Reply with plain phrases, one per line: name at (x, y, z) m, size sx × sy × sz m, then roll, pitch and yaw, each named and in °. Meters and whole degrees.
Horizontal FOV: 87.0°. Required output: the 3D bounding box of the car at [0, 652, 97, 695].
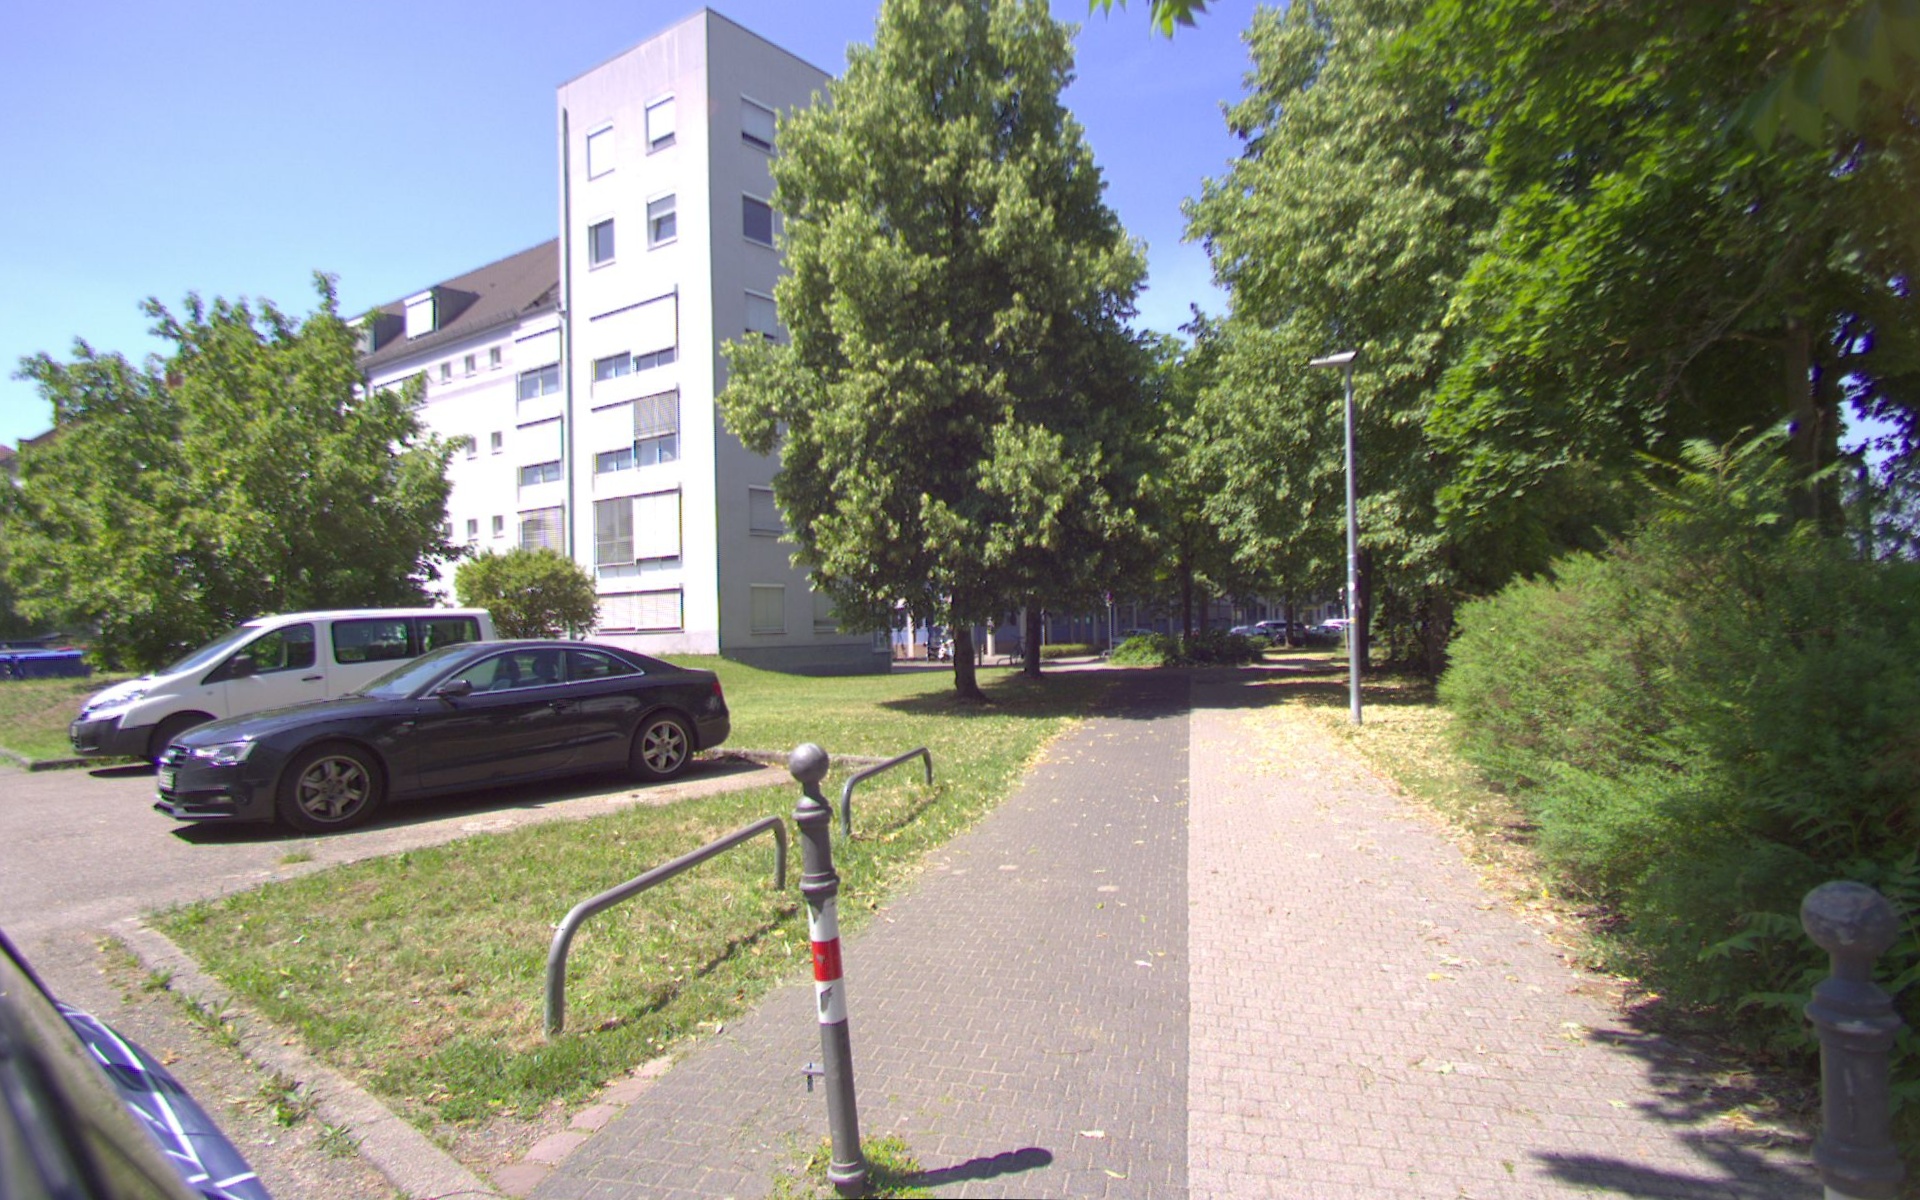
car at (-37.806, 2.981, 40.928) m, size 1.609 × 1.581 × 4.175 m, roll -2°, pitch -2°, yaw 35°

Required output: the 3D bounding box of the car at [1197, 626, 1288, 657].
car at (15.166, 2.234, 54.429) m, size 4.335 × 1.622 × 1.909 m, roll -2°, pitch -2°, yaw 38°

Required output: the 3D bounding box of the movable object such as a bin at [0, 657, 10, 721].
movable object such as a bin at (-21.776, 1.972, 22.204) m, size 1.095 × 1.399 × 1.255 m, roll -2°, pitch -2°, yaw 40°

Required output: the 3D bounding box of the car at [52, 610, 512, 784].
car at (-8.867, 1.114, 13.600) m, size 2.067 × 1.898 × 4.795 m, roll -2°, pitch -2°, yaw 42°

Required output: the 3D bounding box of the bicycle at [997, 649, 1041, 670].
bicycle at (2.102, 2.103, 36.044) m, size 0.734 × 0.646 × 1.594 m, roll -6°, pitch -4°, yaw 41°

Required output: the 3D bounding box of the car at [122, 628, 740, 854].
car at (-4.358, 1.024, 8.862) m, size 2.023 × 1.391 × 4.381 m, roll -5°, pitch -4°, yaw 42°

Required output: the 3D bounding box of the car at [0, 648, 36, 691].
car at (-43.138, 3.044, 43.889) m, size 2.005 × 1.837 × 4.175 m, roll -2°, pitch -2°, yaw 35°

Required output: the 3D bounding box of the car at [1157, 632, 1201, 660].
car at (13.464, 2.782, 62.098) m, size 1.798 × 1.615 × 3.861 m, roll -2°, pitch -2°, yaw 25°

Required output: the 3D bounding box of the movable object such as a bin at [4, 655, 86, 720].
movable object such as a bin at (-20.972, 1.982, 23.204) m, size 1.095 × 1.399 × 1.255 m, roll -2°, pitch -2°, yaw 40°

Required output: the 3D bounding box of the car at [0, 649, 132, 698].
car at (-32.808, 2.624, 36.612) m, size 1.609 × 1.581 × 4.175 m, roll -2°, pitch -2°, yaw 35°

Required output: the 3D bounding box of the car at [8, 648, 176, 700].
car at (-29.884, 2.495, 34.966) m, size 1.609 × 1.581 × 4.175 m, roll -2°, pitch -2°, yaw 35°

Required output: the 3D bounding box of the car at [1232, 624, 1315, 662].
car at (17.681, 2.406, 57.180) m, size 3.995 × 2.029 × 1.974 m, roll -2°, pitch -2°, yaw 38°

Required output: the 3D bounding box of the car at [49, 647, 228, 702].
car at (-27.332, 2.420, 33.807) m, size 1.609 × 1.581 × 4.394 m, roll -2°, pitch -2°, yaw 35°

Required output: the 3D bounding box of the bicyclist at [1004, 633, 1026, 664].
bicyclist at (1.960, 1.708, 35.917) m, size 0.518 × 1.053 × 0.515 m, roll -7°, pitch -5°, yaw 42°

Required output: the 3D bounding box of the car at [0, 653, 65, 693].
car at (-40.514, 3.088, 42.449) m, size 1.609 × 1.581 × 4.175 m, roll -2°, pitch -2°, yaw 35°
